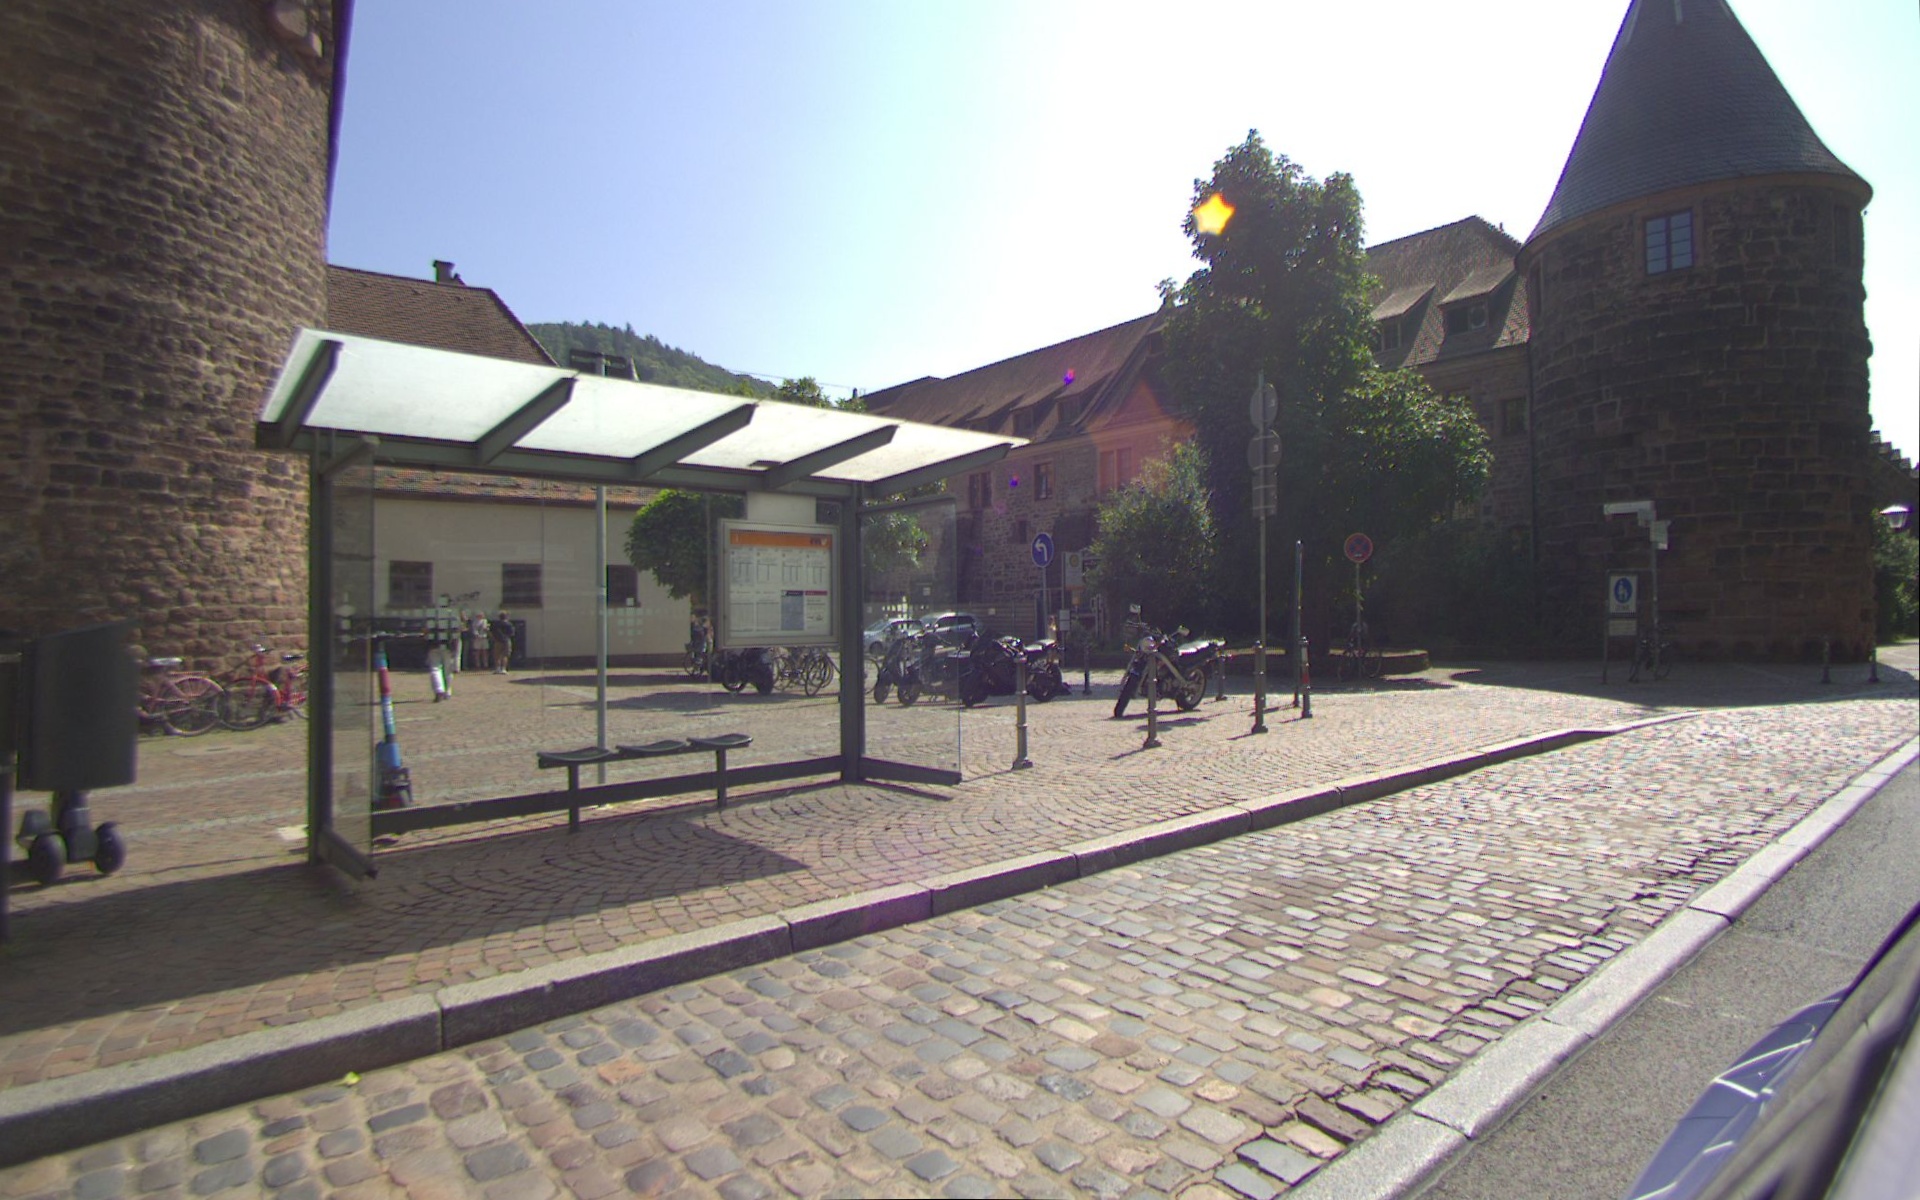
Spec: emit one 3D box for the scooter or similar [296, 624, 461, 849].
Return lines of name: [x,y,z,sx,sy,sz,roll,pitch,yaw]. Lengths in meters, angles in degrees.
scooter or similar: [-3.704,0.800,6.390,0.640,1.231,1.432,-1,-3,-40]

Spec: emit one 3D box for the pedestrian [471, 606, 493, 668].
pedestrian: [-13.068,1.003,27.665,0.444,1.688,0.359,0,-1,-41]

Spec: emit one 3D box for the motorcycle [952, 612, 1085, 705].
motorcycle: [0.902,0.827,15.059,2.180,1.252,0.658,-1,-1,-45]

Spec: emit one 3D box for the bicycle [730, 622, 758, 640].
bicycle: [-11.399,1.631,53.298,1.604,0.933,0.582,-1,-1,40]

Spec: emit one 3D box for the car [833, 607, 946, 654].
car: [-2.947,1.241,42.692,4.346,1.636,1.999,-4,1,-37]

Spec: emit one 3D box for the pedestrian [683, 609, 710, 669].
pedestrian: [-8.015,1.174,30.741,0.594,1.763,0.661,0,-1,-35]

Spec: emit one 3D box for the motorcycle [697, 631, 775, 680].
motorcycle: [-5.554,1.358,25.151,0.597,1.175,1.887,-2,-3,43]

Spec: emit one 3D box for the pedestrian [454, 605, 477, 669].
pedestrian: [-13.344,0.994,27.303,0.444,1.688,0.359,0,-1,-41]

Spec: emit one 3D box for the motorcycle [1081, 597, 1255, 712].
motorcycle: [2.658,0.645,12.718,2.486,1.310,0.883,1,-3,-44]

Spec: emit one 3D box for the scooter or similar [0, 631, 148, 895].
scooter or similar: [-4.860,0.816,5.513,0.640,1.231,1.432,-1,-3,-40]

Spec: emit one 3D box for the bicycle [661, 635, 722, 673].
bicycle: [-7.519,1.500,28.385,0.421,1.027,1.687,-2,-3,43]

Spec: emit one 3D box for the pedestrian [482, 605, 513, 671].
pedestrian: [-11.922,0.970,26.087,0.572,1.688,0.532,0,-1,-41]

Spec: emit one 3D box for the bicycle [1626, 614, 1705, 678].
bicycle: [13.983,0.889,20.037,1.812,1.167,0.844,-1,-1,-41]

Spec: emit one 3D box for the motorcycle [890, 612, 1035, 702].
motorcycle: [0.065,0.833,15.508,2.230,1.252,0.740,-1,-1,-39]

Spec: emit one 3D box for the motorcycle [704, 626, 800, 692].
motorcycle: [-4.016,1.107,19.378,0.861,1.162,2.343,-1,-2,-37]

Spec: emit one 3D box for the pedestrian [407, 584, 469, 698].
pedestrian: [-8.893,0.673,17.234,0.747,1.869,0.797,-1,-1,-41]

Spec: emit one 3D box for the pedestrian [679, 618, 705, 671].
pedestrian: [-9.086,1.507,34.266,0.661,1.763,0.661,0,-1,-36]

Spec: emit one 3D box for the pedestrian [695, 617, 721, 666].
pedestrian: [-8.645,1.415,34.725,0.661,1.650,0.661,0,-1,-36]

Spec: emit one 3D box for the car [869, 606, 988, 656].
car: [-1.222,1.188,40.053,4.346,1.636,1.999,-4,1,-37]

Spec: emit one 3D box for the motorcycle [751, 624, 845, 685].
motorcycle: [-3.631,1.197,22.629,2.003,1.252,0.600,-1,-1,-15]

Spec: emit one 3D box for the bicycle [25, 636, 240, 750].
bicycle: [-9.714,1.047,11.952,0.524,1.175,1.899,-2,-1,40]

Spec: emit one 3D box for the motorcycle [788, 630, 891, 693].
motorcycle: [-2.188,1.100,18.555,1.897,1.095,0.630,1,-2,-45]

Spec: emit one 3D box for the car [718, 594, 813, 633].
car: [-11.586,0.762,60.492,5.298,2.150,1.997,-1,0,-39]

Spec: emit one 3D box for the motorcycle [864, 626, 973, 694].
motorcycle: [-0.741,1.069,18.436,1.874,1.108,0.875,-1,-1,-44]

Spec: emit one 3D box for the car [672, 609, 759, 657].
car: [-9.137,1.175,37.608,1.766,1.549,4.143,-3,1,-34]

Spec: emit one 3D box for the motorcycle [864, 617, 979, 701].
motorcycle: [-0.603,0.913,16.134,1.774,1.247,0.671,0,-3,-38]

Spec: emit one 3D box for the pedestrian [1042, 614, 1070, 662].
pedestrian: [2.989,1.159,31.496,0.660,1.439,0.662,-3,-1,-10]

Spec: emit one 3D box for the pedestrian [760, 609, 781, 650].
pedestrian: [-8.295,1.278,44.361,0.698,1.763,0.661,0,-1,-36]

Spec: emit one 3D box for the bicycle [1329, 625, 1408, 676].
bicycle: [8.773,1.061,21.740,1.679,1.015,0.660,-1,-2,-31]

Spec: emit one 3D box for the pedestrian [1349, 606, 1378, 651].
pedestrian: [11.495,0.797,28.820,0.661,1.247,0.774,-2,-1,29]

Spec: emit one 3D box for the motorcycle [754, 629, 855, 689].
motorcycle: [-3.309,1.241,21.581,1.983,1.159,0.742,-1,-3,-38]

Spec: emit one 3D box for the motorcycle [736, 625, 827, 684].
motorcycle: [-4.089,1.234,23.157,2.003,1.252,0.600,-1,-1,-14]

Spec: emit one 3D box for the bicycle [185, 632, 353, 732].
bicycle: [-9.135,1.045,13.482,0.540,1.167,1.915,-2,-1,18]

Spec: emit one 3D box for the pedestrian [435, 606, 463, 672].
pedestrian: [-13.199,0.997,26.135,0.524,1.688,0.582,0,-1,-41]
